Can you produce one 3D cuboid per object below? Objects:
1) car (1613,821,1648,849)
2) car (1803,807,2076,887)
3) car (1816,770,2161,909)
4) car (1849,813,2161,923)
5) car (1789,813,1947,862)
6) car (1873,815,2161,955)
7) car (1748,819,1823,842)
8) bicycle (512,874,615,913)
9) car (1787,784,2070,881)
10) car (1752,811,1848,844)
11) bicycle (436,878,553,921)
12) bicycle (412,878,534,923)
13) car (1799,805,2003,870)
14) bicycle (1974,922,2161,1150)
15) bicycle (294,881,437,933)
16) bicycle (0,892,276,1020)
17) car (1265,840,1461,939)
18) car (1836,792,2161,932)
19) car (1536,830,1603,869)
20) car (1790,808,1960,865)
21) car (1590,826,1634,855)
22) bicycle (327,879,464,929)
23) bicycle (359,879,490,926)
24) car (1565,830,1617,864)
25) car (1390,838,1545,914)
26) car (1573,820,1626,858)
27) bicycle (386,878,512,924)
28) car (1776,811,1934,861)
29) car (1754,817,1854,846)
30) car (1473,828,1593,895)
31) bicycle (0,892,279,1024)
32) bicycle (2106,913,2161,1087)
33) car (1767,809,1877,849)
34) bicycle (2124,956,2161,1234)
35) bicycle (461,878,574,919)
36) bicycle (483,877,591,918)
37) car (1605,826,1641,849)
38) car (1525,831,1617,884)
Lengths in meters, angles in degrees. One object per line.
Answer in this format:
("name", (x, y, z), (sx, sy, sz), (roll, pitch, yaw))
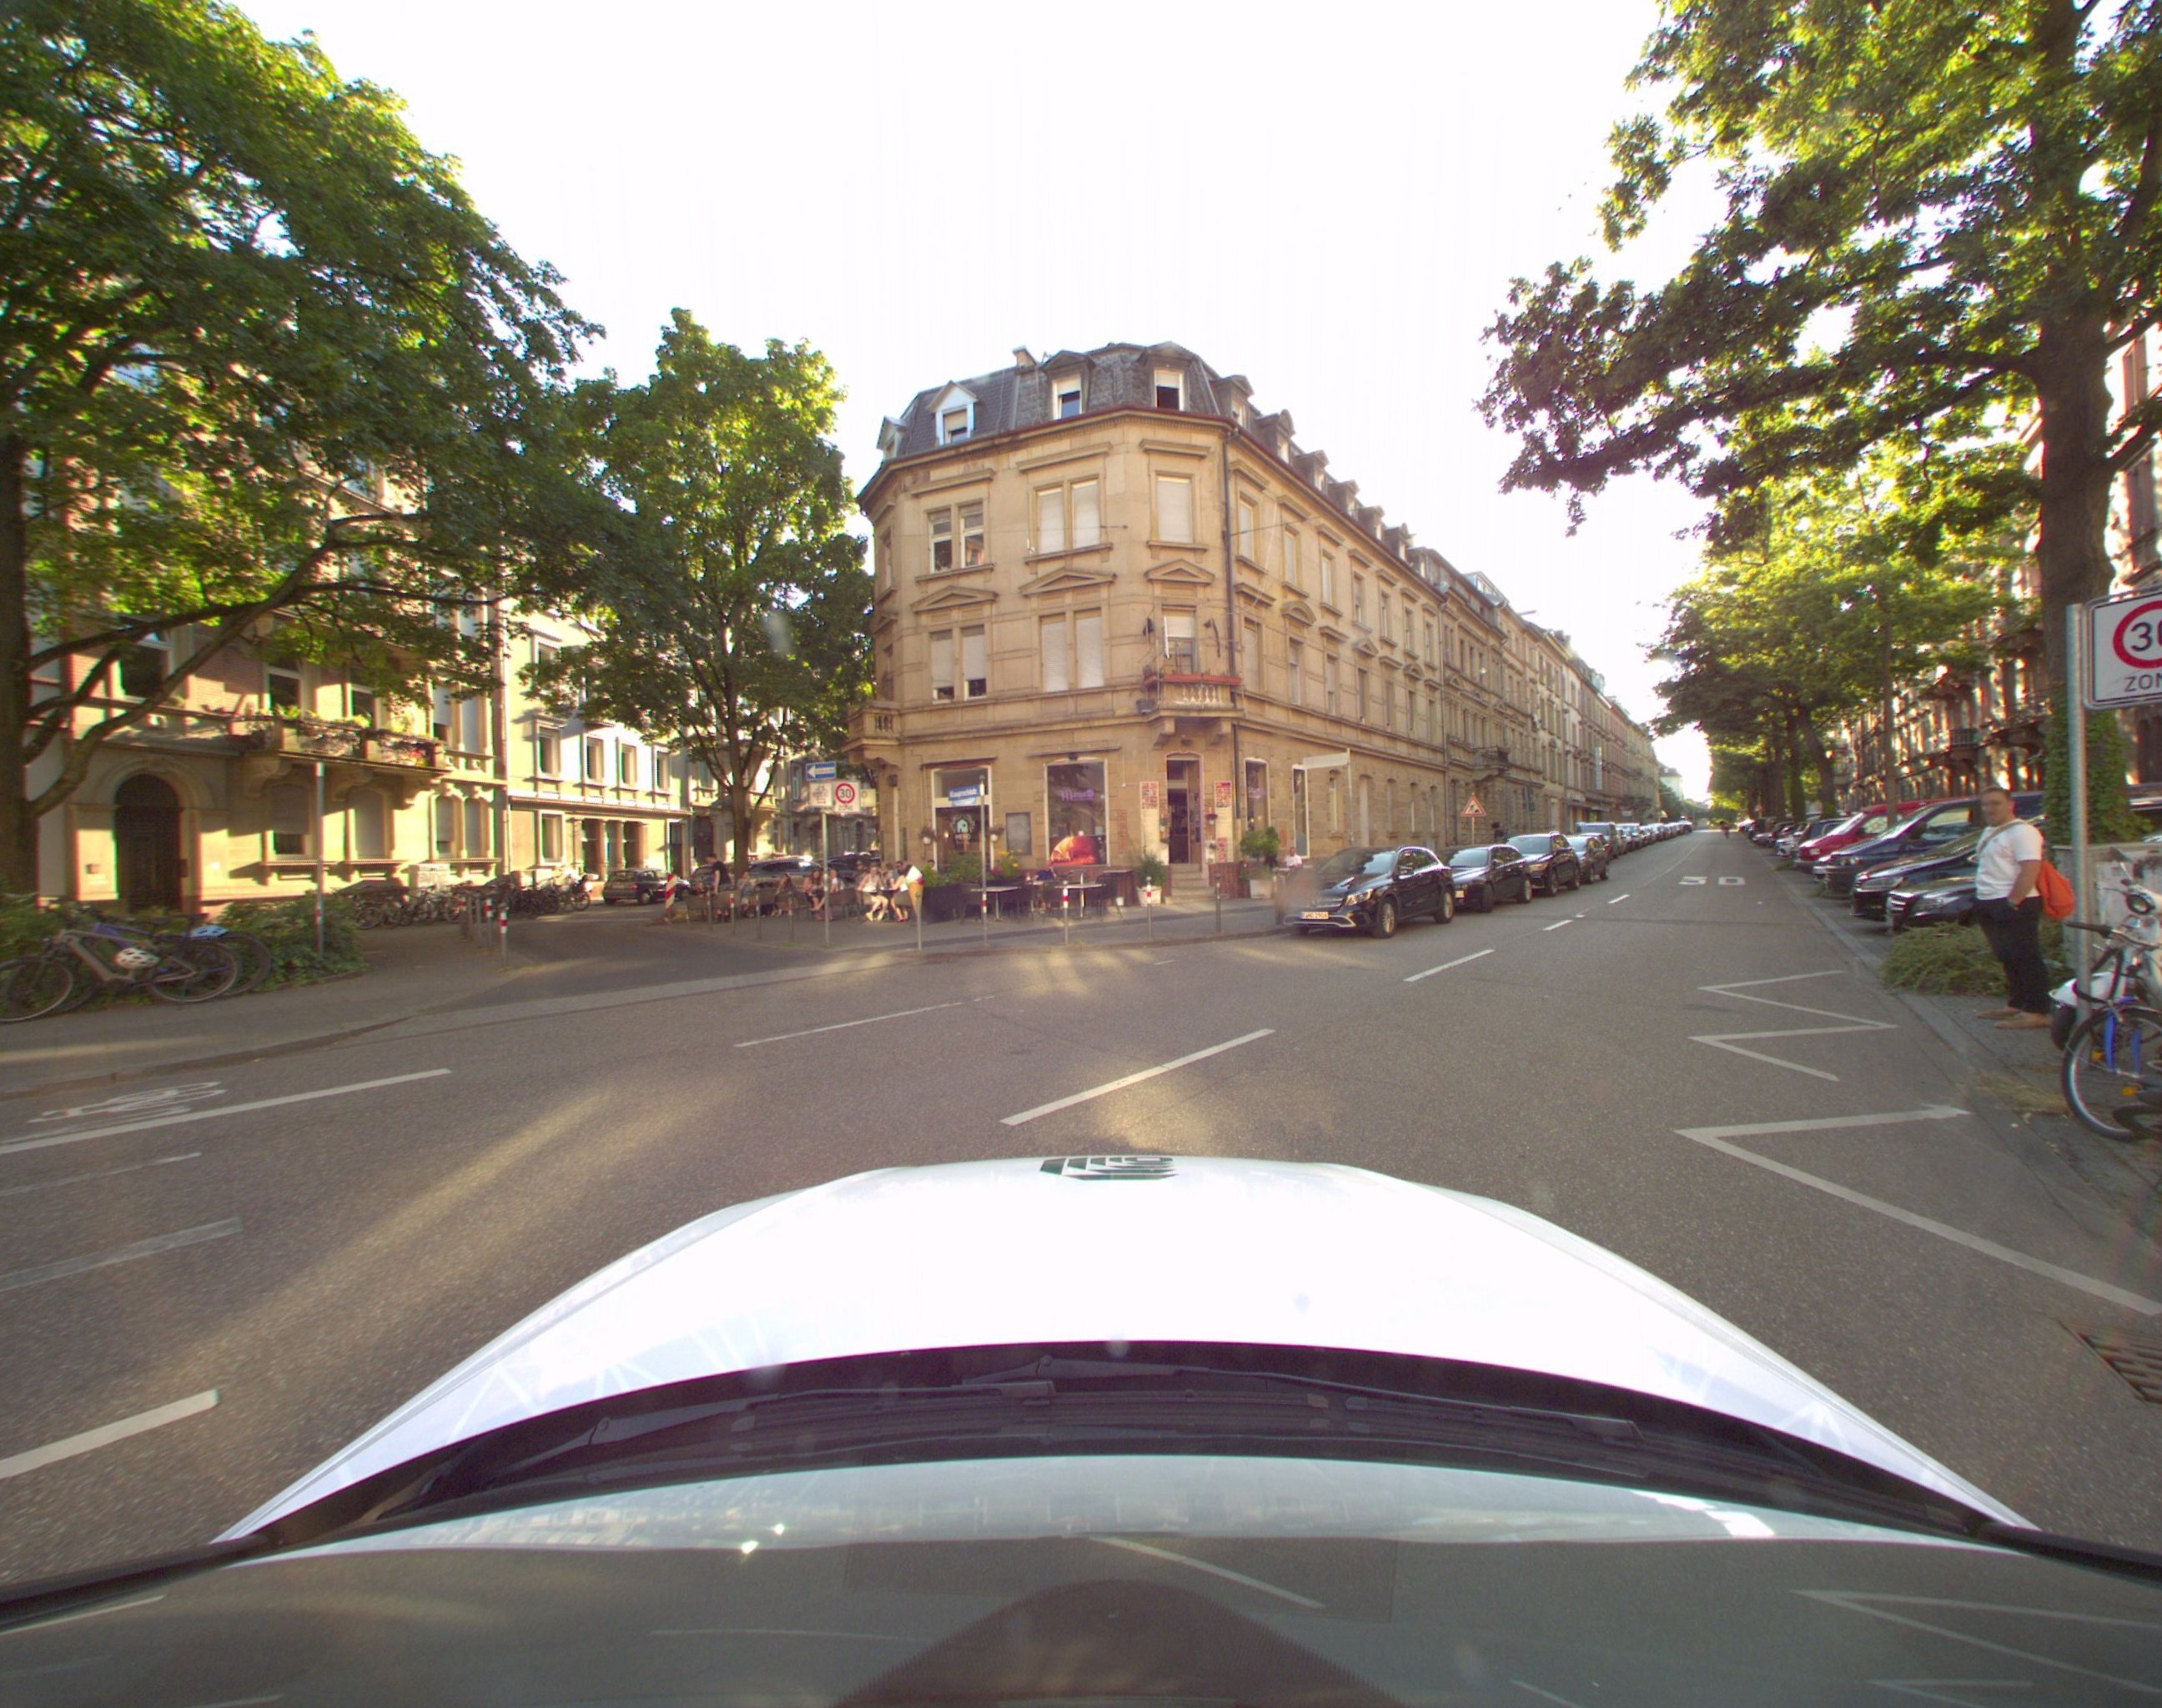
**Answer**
("car", (38.672, -1.376, 57.247), (1.741, 1.842, 4.559), (-3, 0, 37))
("car", (19.384, -0.113, 18.713), (4.014, 1.510, 1.891), (-4, -2, 39))
("car", (16.767, -0.216, 14.737), (4.972, 2.215, 2.005), (-2, 0, 38))
("car", (14.809, 0.197, 12.643), (4.066, 1.534, 1.735), (-2, 0, 40))
("car", (29.136, -0.586, 30.346), (3.971, 1.434, 1.806), (-5, -2, 38))
("car", (11.855, 0.275, 8.679), (4.739, 1.413, 1.863), (-4, -1, 41))
("car", (50.476, -1.688, 58.445), (3.812, 1.294, 1.729), (-5, -1, 36))
("bicycle", (-17.717, 1.356, 27.912), (3.112, 1.180, 0.753), (-2, 0, 4))
("car", (21.237, -0.466, 20.766), (4.629, 2.033, 1.891), (-4, -2, 36))
("car", (46.669, -1.713, 52.980), (4.185, 1.795, 1.844), (-4, -1, 19))
("bicycle", (-18.051, 1.390, 25.091), (3.112, 1.180, 0.753), (-2, 0, 4))
("bicycle", (-18.108, 1.374, 24.281), (3.112, 1.180, 0.753), (-2, 0, 4))
("car", (24.528, -0.453, 24.619), (4.146, 1.628, 1.849), (-5, -2, 42))
("bicycle", (5.255, 0.874, 4.183), (1.414, 0.927, 0.352), (-3, -2, -21))
("bicycle", (-18.398, 1.354, 20.971), (3.112, 1.180, 0.753), (-2, 0, 4))
("bicycle", (-11.080, 1.116, 9.055), (0.541, 1.196, 2.977), (-2, 0, 43))
("car", (5.199, 0.553, 14.681), (1.742, 1.488, 4.164), (-3, -1, 43))
("car", (13.265, 0.096, 10.778), (4.642, 1.679, 1.863), (-4, -1, 41))
("car", (21.433, -0.205, 35.668), (1.741, 1.501, 4.085), (-3, 0, 41))
("car", (27.547, -0.577, 28.456), (3.971, 1.628, 1.817), (-4, -2, 37))
("car", (31.510, -0.834, 48.303), (1.737, 1.608, 4.412), (0, 2, 39))
("bicycle", (-18.345, 1.337, 21.817), (3.112, 1.180, 0.753), (-2, 0, 4))
("bicycle", (-18.252, 1.345, 22.663), (3.112, 1.180, 0.753), (-2, 0, 4))
("car", (24.518, -0.367, 39.082), (1.577, 1.475, 3.723), (0, 2, 41))
("car", (8.883, 0.439, 18.520), (1.742, 1.451, 4.577), (-3, -1, 44))
("car", (27.814, -0.851, 43.616), (1.814, 1.943, 5.294), (0, 2, 39))
("bicycle", (-18.170, 1.357, 23.450), (3.112, 1.180, 0.753), (-2, 0, 4))
("car", (30.505, -0.700, 32.308), (4.301, 1.556, 1.862), (-5, -1, 38))
("car", (43.043, -1.321, 48.625), (4.179, 1.403, 1.847), (-4, -1, 34))
("car", (12.446, 0.161, 22.261), (1.742, 1.600, 4.578), (-3, 0, 43))
("bicycle", (-10.649, 1.091, 8.655), (0.541, 1.196, 2.977), (-2, 0, 43))
("bicycle", (6.743, 0.749, 4.076), (1.911, 0.927, 0.357), (-5, -3, 38))
("car", (40.210, -1.349, 44.335), (4.179, 1.776, 1.847), (-5, -1, 38))
("bicycle", (4.697, 0.797, 2.454), (1.915, 0.988, 0.499), (-4, -2, 17))
("bicycle", (-17.926, 1.405, 25.930), (3.112, 1.180, 0.753), (-2, 0, 4))
("bicycle", (-17.861, 1.422, 26.774), (3.112, 1.180, 0.753), (-2, 0, 4))
("car", (35.684, -1.101, 53.578), (1.741, 1.467, 4.026), (0, 2, 37))
("car", (15.812, 0.082, 26.202), (1.742, 1.501, 4.085), (-3, 0, 42))
